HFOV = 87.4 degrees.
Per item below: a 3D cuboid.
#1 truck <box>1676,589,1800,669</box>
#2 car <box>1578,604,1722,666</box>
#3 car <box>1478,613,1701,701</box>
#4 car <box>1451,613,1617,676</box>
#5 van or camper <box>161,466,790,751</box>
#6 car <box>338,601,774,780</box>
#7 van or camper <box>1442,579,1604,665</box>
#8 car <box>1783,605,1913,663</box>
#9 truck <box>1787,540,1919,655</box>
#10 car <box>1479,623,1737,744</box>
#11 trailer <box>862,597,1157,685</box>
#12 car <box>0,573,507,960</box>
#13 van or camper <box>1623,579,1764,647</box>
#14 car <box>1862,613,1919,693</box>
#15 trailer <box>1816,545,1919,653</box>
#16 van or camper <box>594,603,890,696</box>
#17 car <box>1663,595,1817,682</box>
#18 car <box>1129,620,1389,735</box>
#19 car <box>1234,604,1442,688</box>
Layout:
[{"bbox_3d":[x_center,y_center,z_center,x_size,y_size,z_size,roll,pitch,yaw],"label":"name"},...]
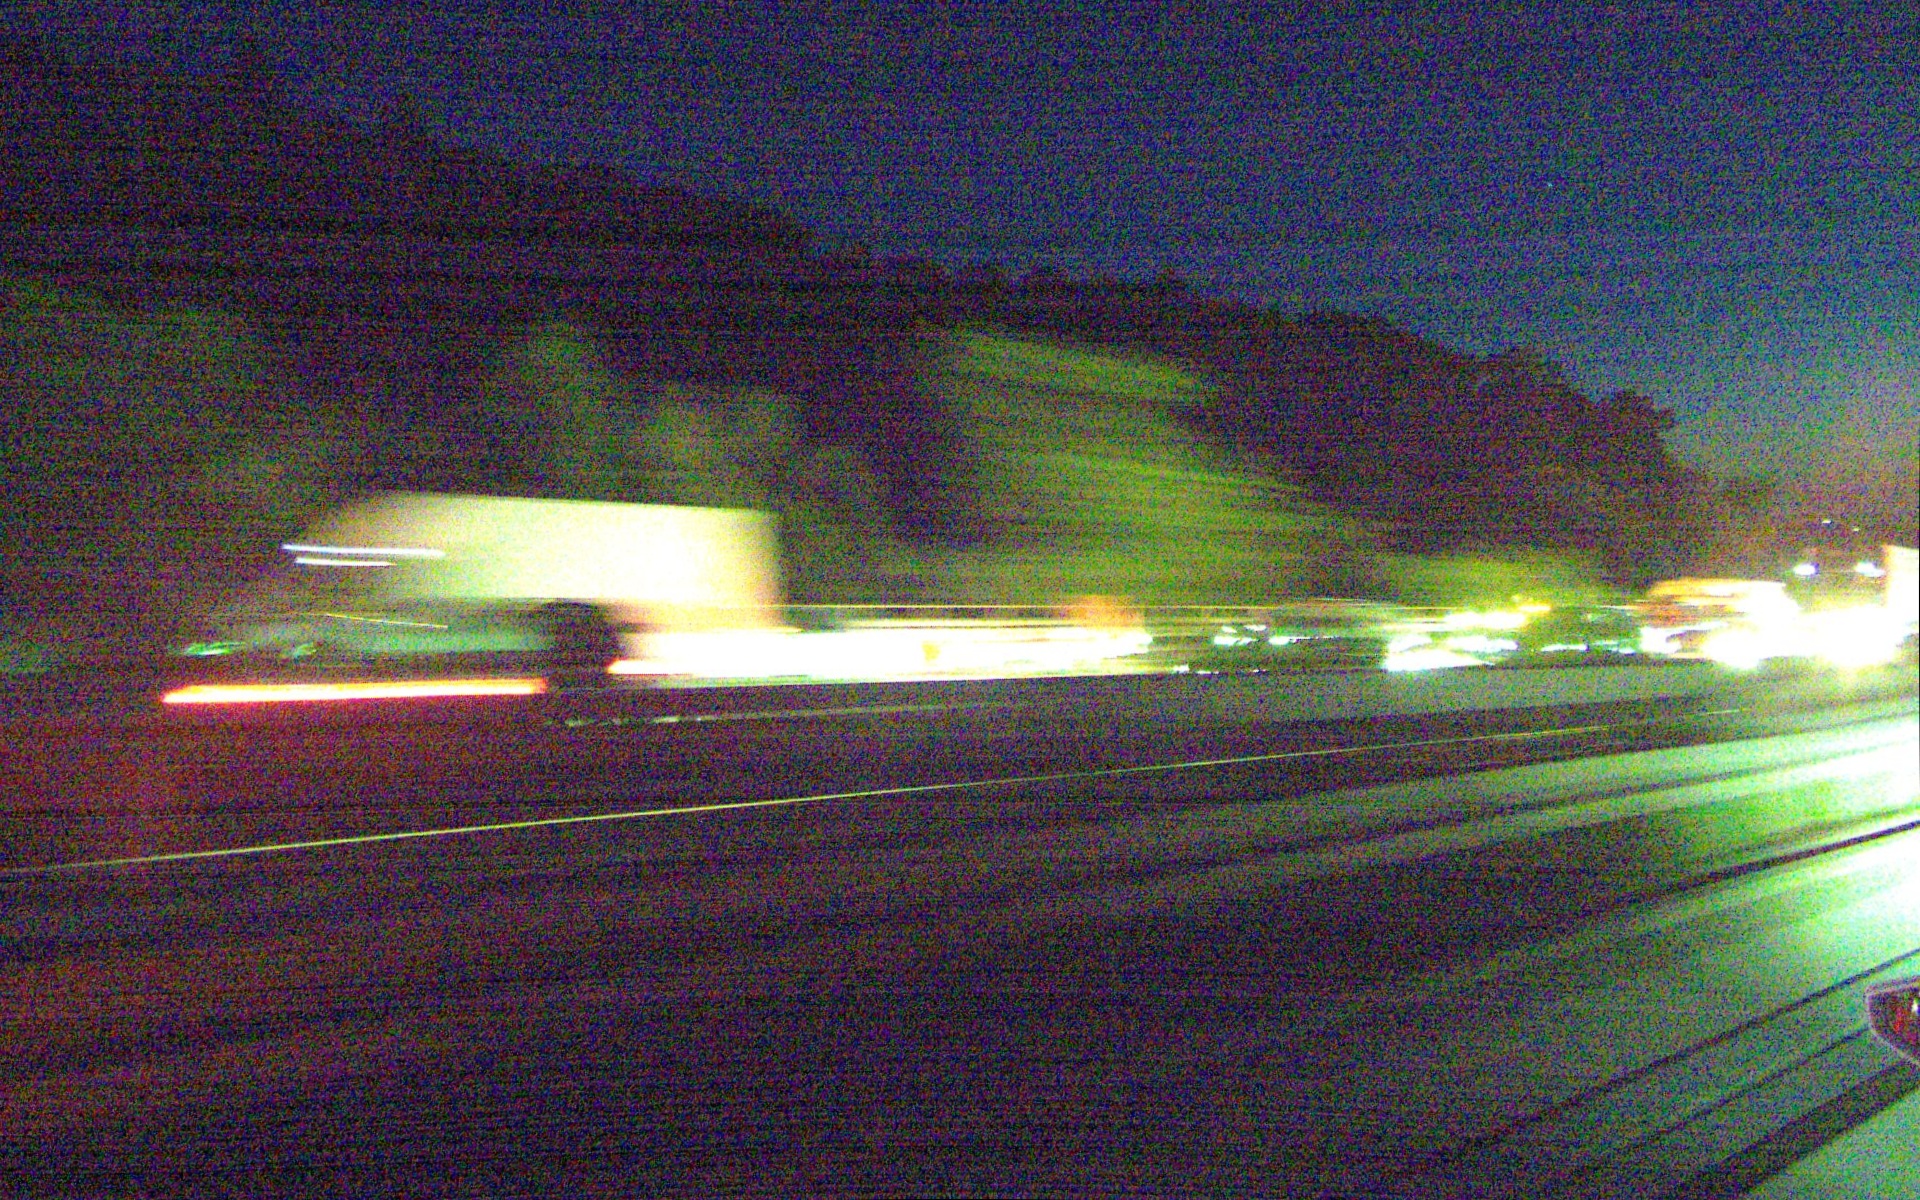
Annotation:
[{"bbox_3d":[25.930,0.924,33.421,5.002,2.491,1.980,1,0,-36],"label":"truck"},{"bbox_3d":[20.328,0.983,29.539,5.029,1.699,1.873,1,0,-35],"label":"car"},{"bbox_3d":[12.507,1.047,19.875,4.799,1.551,1.699,1,0,-30],"label":"car"},{"bbox_3d":[14.471,1.086,25.263,4.303,1.406,1.886,0,-2,-34],"label":"car"},{"bbox_3d":[-6.009,0.133,13.460,7.038,3.043,2.212,1,0,-30],"label":"van or camper"},{"bbox_3d":[-4.109,0.844,10.468,3.954,1.560,1.633,2,-1,-31],"label":"car"},{"bbox_3d":[19.031,0.707,33.839,6.546,2.692,1.982,0,0,-33],"label":"van or camper"},{"bbox_3d":[25.380,1.011,28.672,4.307,1.543,1.885,2,-3,-36],"label":"car"},{"bbox_3d":[35.874,-0.064,40.193,6.047,4.266,2.845,1,0,-36],"label":"truck"},{"bbox_3d":[7.913,0.936,12.236,3.092,1.273,1.411,1,0,-31],"label":"car"},{"bbox_3d":[1.210,0.872,22.474,6.469,1.749,2.245,1,-1,-31],"label":"trailer"},{"bbox_3d":[-5.065,0.760,5.236,4.807,1.764,1.800,2,-1,-28],"label":"car"},{"bbox_3d":[30.773,0.528,42.043,7.038,2.627,2.567,0,0,-34],"label":"van or camper"},{"bbox_3d":[20.399,1.065,20.333,4.813,1.512,1.894,1,0,-32],"label":"car"},{"bbox_3d":[42.283,-0.004,44.738,14.377,4.240,2.857,0,0,-35],"label":"trailer"},{"bbox_3d":[-4.150,0.870,19.313,5.154,1.570,2.212,1,0,-30],"label":"van or camper"},{"bbox_3d":[19.028,0.937,24.466,4.069,1.875,1.666,2,2,-34],"label":"car"},{"bbox_3d":[4.388,1.053,14.735,3.436,1.483,1.693,1,0,-27],"label":"car"},{"bbox_3d":[8.463,1.009,22.352,4.686,1.675,1.915,2,-1,-33],"label":"car"}]
